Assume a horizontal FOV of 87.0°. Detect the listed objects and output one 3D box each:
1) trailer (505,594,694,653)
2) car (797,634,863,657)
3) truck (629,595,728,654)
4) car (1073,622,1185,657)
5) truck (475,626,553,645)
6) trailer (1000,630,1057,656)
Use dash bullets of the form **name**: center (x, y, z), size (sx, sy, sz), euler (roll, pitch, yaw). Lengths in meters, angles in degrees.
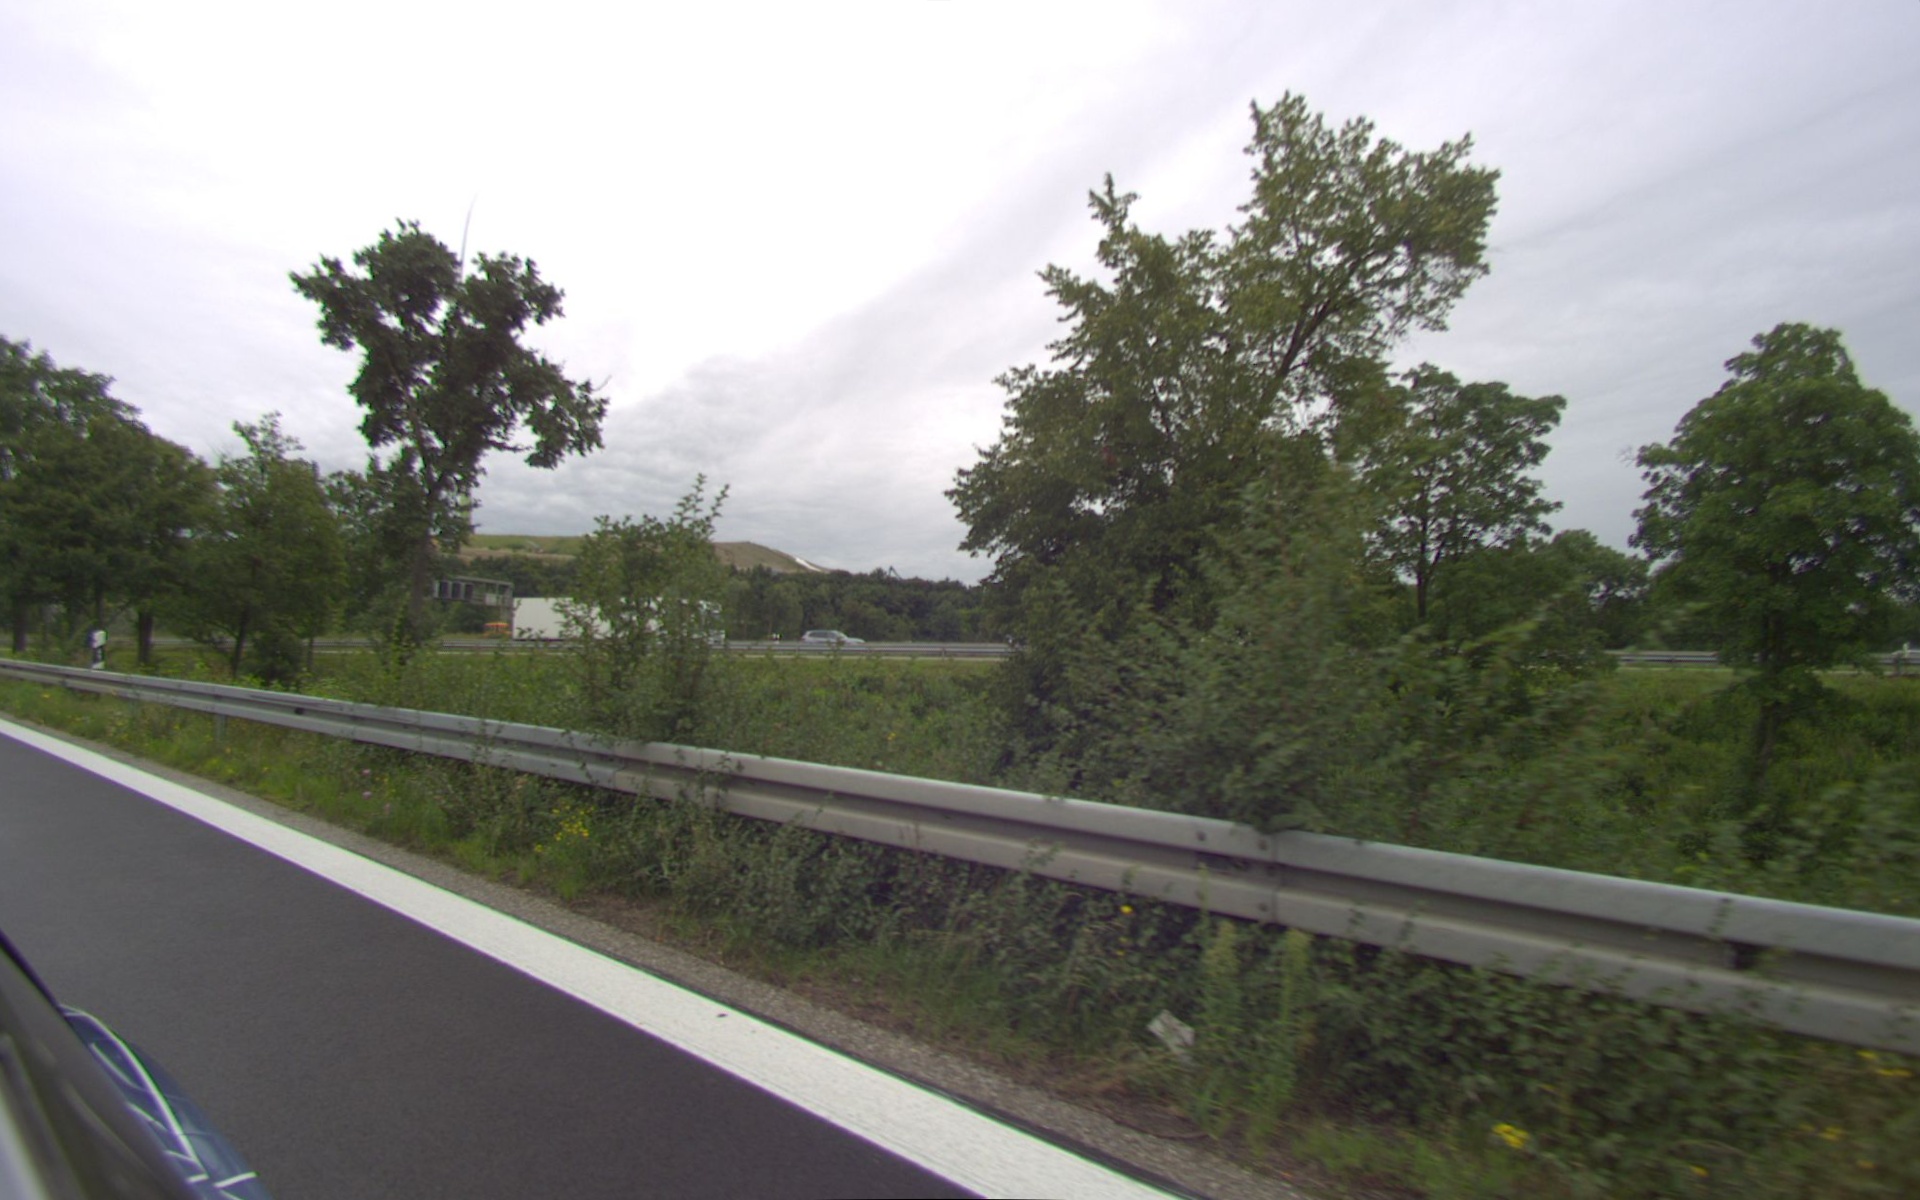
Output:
- **trailer**: center (-26.606, 1.770, 74.635), size (13.812, 4.167, 2.763), euler (-1, -2, 13)
- **car**: center (-9.611, 3.349, 74.915), size (4.439, 1.663, 1.897), euler (0, -2, 13)
- **truck**: center (-20.332, 1.775, 73.134), size (6.381, 4.167, 2.763), euler (-1, -2, 13)
- **car**: center (15.469, 3.579, 92.543), size (9.988, 3.005, 2.728), euler (0, -2, 15)
- **truck**: center (-50.138, 4.006, 113.733), size (8.735, 2.029, 1.989), euler (0, -2, 16)
- **trailer**: center (4.586, 2.851, 67.548), size (3.575, 1.638, 1.880), euler (0, -2, 14)
